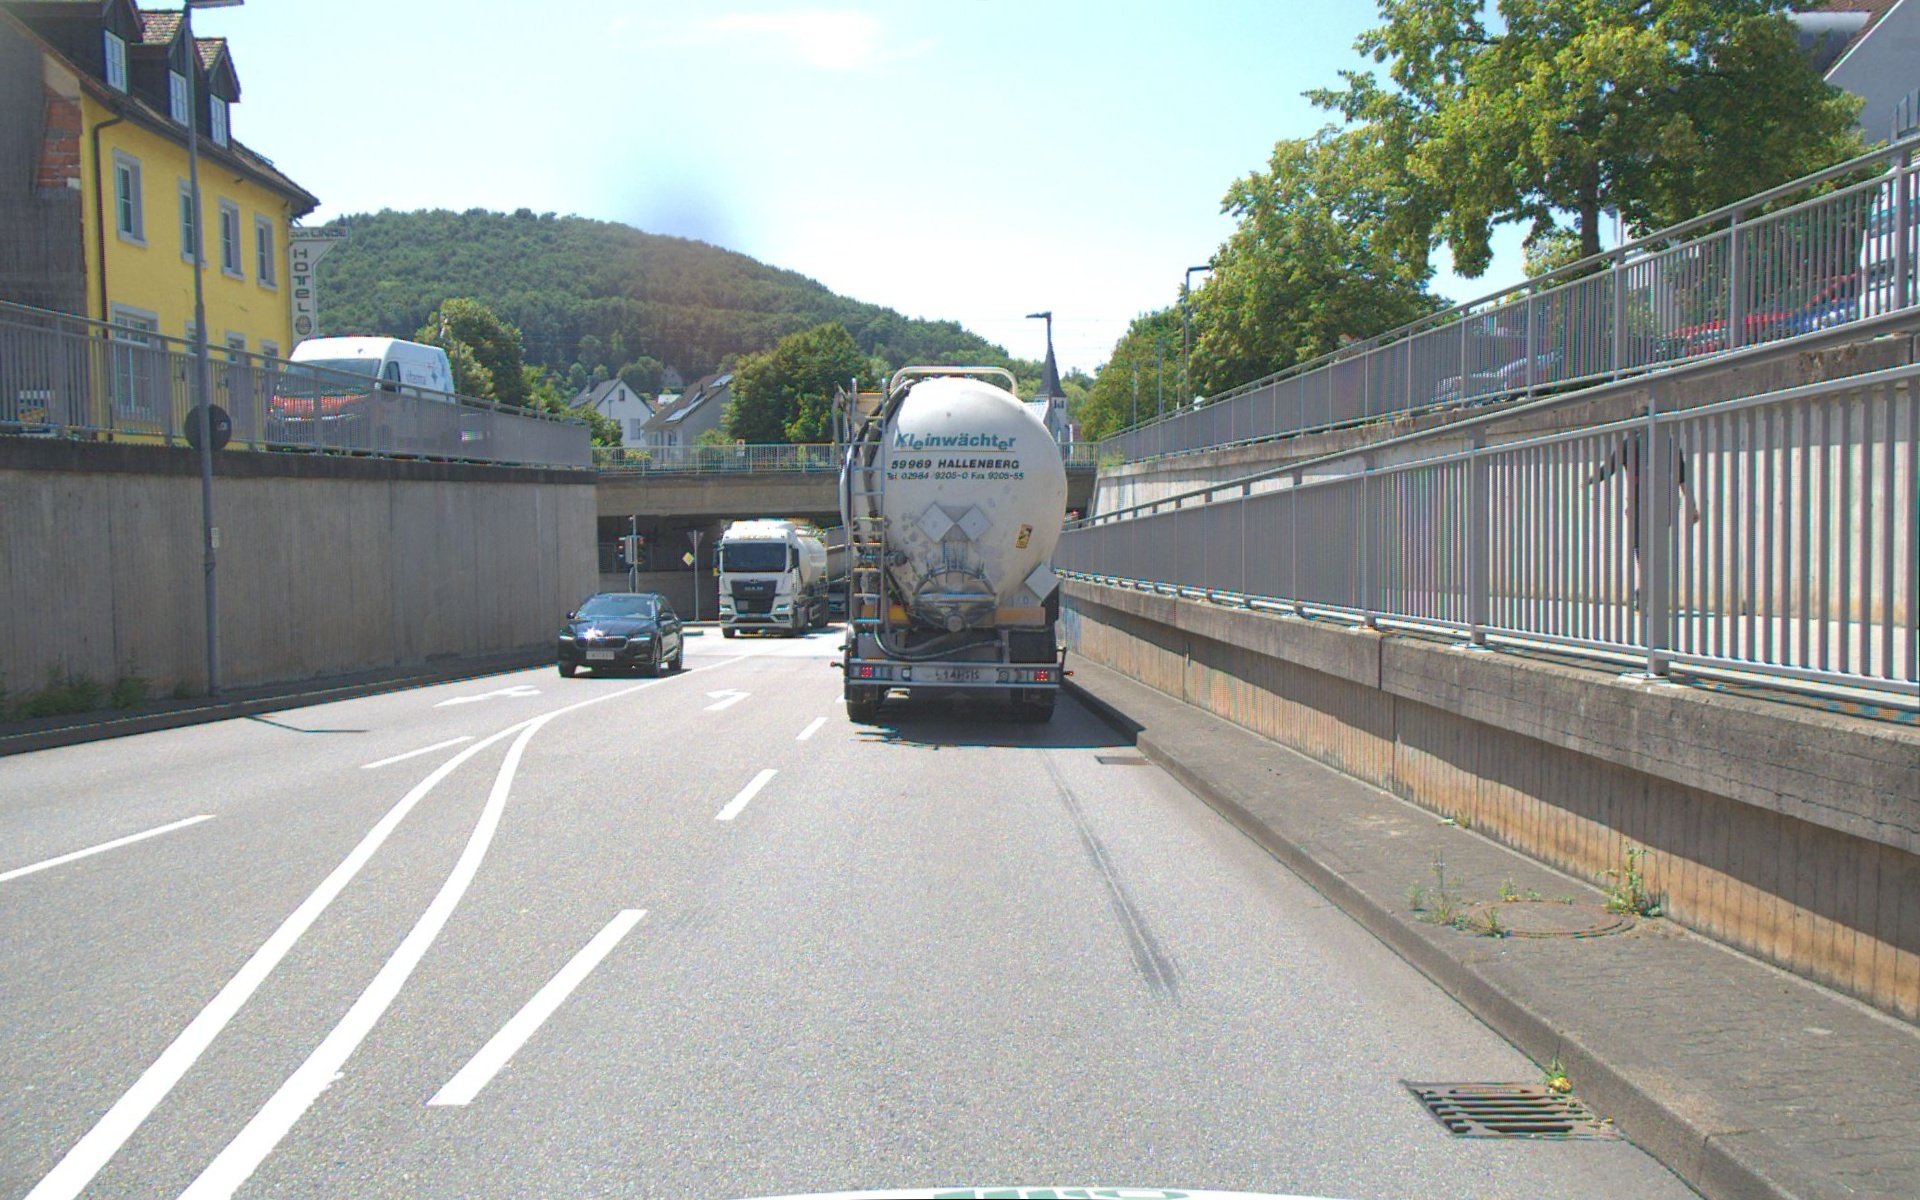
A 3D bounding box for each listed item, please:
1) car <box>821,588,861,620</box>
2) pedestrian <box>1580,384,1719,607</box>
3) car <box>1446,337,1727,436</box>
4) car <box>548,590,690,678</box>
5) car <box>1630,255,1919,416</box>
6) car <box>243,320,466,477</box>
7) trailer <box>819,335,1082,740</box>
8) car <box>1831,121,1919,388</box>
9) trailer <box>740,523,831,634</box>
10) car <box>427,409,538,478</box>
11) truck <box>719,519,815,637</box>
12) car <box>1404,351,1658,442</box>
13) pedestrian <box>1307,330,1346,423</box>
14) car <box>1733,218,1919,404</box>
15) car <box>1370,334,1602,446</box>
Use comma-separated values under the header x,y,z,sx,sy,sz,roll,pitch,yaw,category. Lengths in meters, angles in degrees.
x,y,z,sx,sy,sz,roll,pitch,yaw,category
-5.793,0.165,80.864,1.648,1.466,4.093,2,0,0,car
5.804,-0.864,13.959,0.819,1.813,0.788,-1,1,-1,pedestrian
9.856,-3.356,26.213,3.825,1.391,1.687,-1,3,0,car
-6.215,0.572,30.602,1.724,1.515,4.368,0,0,0,car
10.061,-2.997,18.928,4.118,1.623,1.687,-1,3,0,car
-11.267,-3.675,31.318,2.022,2.580,5.664,1,3,1,car
-0.091,-0.664,23.552,2.679,4.135,13.312,0,0,0,trailer
10.430,-2.965,14.059,5.007,2.099,1.989,-1,3,0,car
-6.660,-0.790,64.486,2.556,4.033,9.346,0,0,0,trailer
-11.521,-3.755,40.161,1.586,1.526,4.045,1,3,-1,car
-6.705,-0.750,58.419,2.607,3.928,6.579,0,0,0,truck
9.823,-3.506,28.652,3.825,1.391,1.687,-1,3,0,car
7.397,-4.502,33.417,0.659,1.810,0.594,-1,3,1,pedestrian
10.085,-2.831,16.325,4.118,1.623,1.687,-1,3,0,car
9.829,-3.914,31.083,3.825,1.917,1.687,-1,3,0,car
